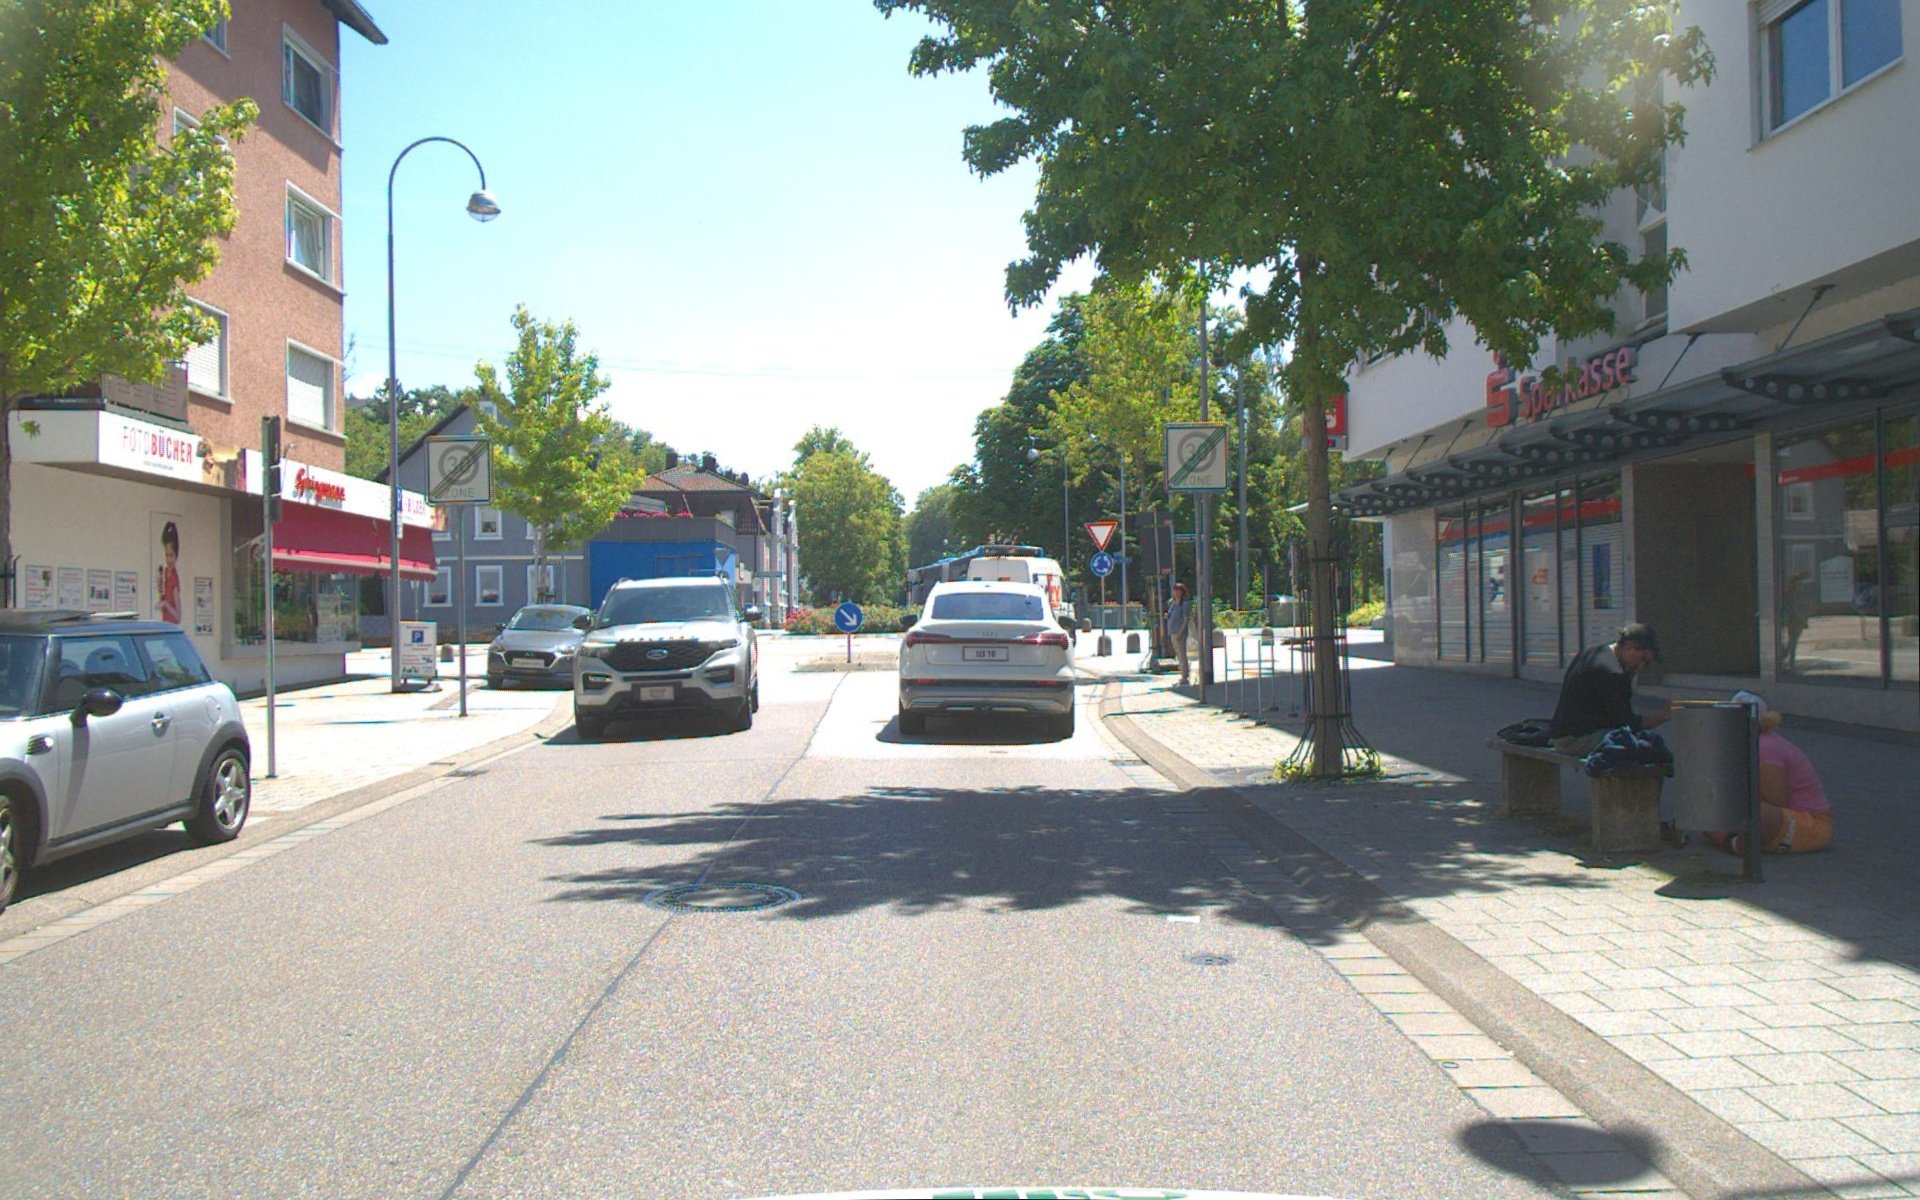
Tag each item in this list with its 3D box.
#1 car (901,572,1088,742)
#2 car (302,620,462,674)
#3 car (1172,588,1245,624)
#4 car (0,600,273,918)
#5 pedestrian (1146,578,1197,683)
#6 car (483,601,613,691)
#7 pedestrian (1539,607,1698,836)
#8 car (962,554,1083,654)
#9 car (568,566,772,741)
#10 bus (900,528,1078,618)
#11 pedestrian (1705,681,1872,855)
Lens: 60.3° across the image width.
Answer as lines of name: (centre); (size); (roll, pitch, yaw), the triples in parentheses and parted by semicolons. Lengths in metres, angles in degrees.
car: (0.337, 0.571, 18.746); (1.859, 1.691, 4.409); (0, 0, 0)
car: (-17.823, 1.439, 51.148); (4.338, 1.483, 1.766); (-2, 0, -6)
car: (11.670, 0.275, 77.735); (2.998, 1.580, 1.628); (-1, 0, -15)
car: (-5.348, 0.769, 9.195); (1.588, 1.499, 3.548); (-1, 0, -1)
pedestrian: (3.349, 0.478, 26.217); (0.717, 1.638, 0.559); (-1, 0, 1)
car: (-7.538, 0.802, 30.613); (1.634, 1.512, 4.057); (2, 0, -4)
pedestrian: (3.772, 0.685, 9.513); (0.744, 1.262, 0.538); (-2, -1, 13)
car: (1.776, 0.103, 44.513); (1.951, 2.524, 5.488); (-1, 0, 16)
car: (-3.376, 0.577, 20.086); (1.863, 1.784, 4.753); (-3, 0, -4)
bus: (0.781, -0.908, 69.578); (3.641, 3.227, 18.016); (1, -1, -11)
pedestrian: (4.431, 0.892, 8.883); (0.663, 0.867, 0.538); (-2, -1, 13)
